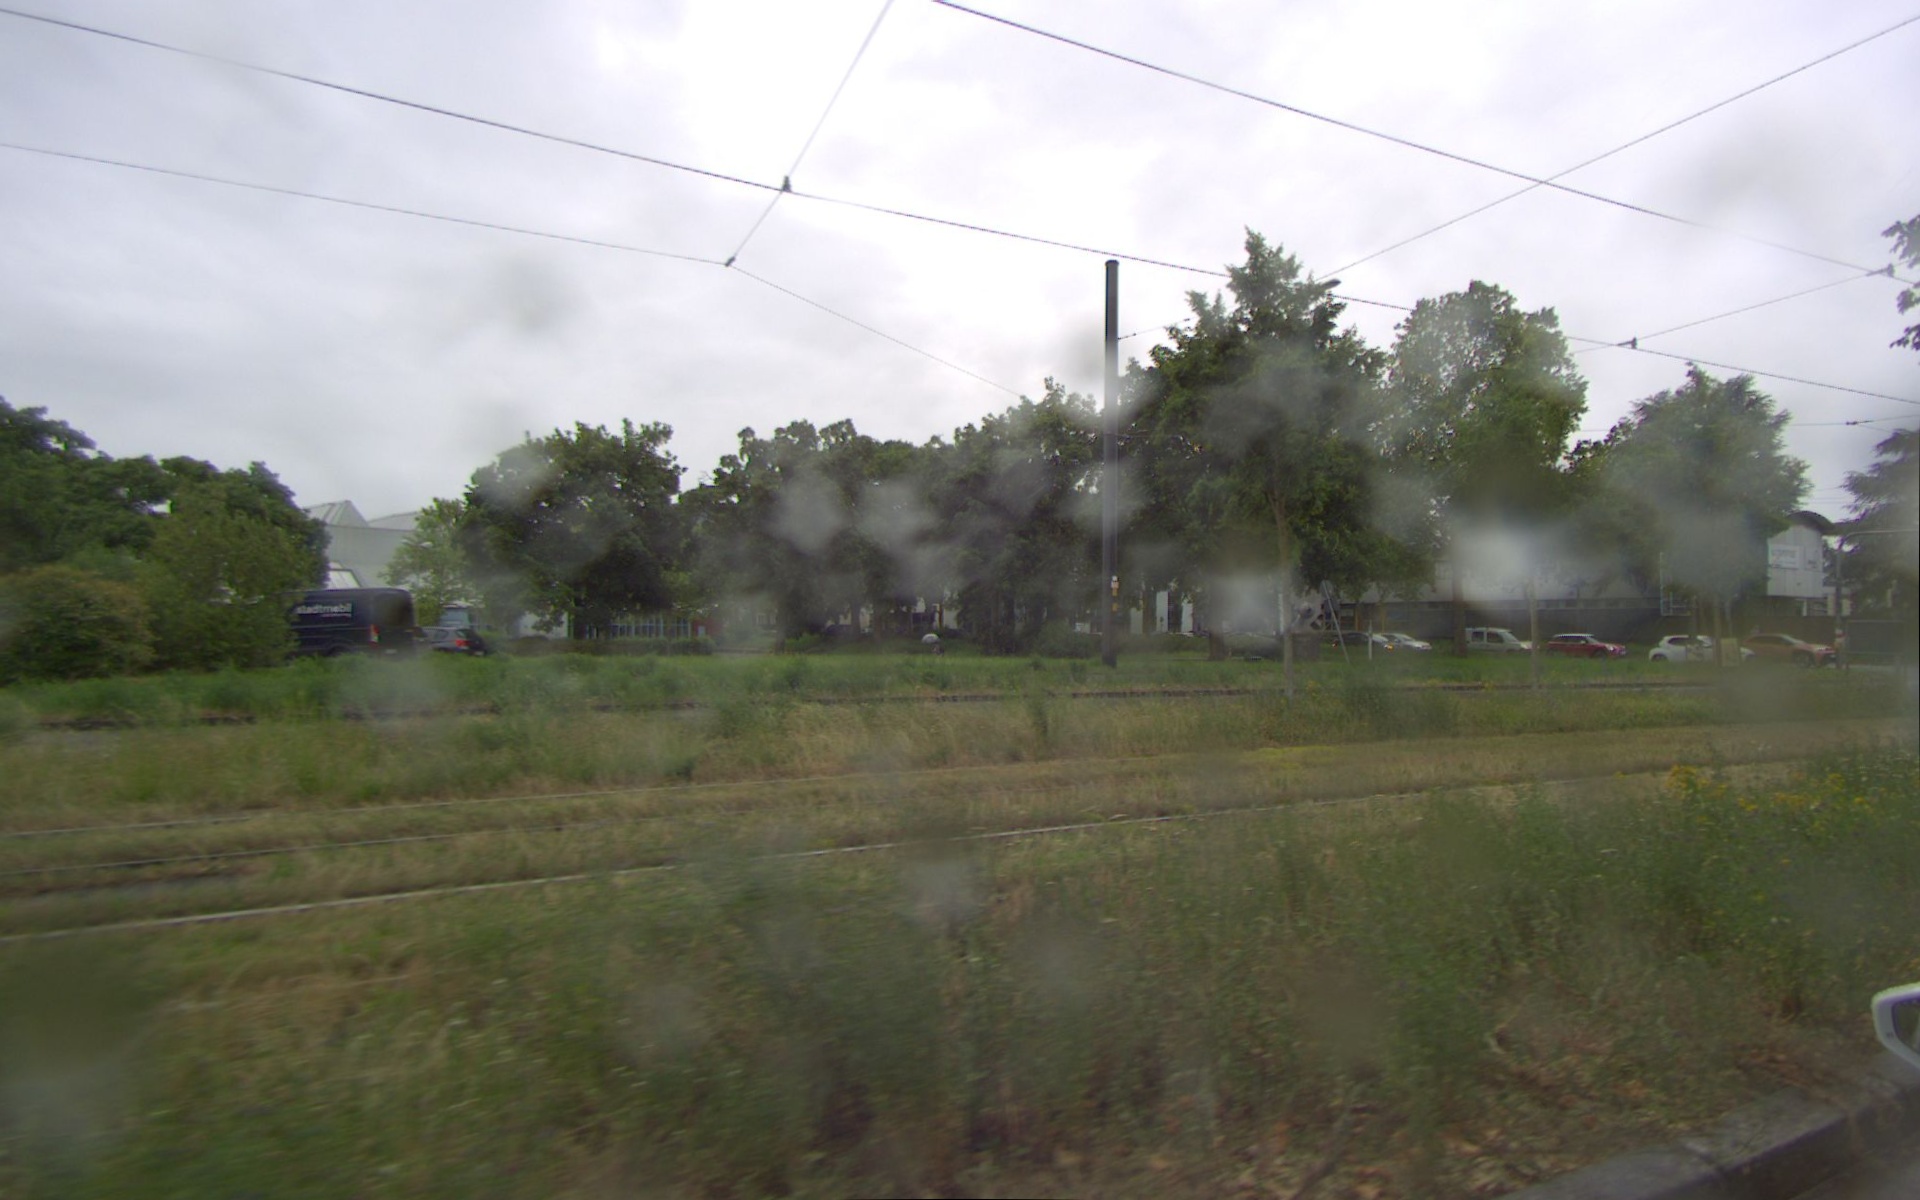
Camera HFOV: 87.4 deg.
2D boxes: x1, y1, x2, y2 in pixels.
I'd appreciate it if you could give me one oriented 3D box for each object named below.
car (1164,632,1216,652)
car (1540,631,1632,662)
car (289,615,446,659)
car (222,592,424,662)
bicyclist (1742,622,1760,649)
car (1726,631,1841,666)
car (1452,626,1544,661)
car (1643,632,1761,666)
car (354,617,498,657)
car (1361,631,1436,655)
[{"bbox_3d":[17.054,3.123,74.577,1.632,1.413,3.800,1,-2,-29],"label":"car"},{"bbox_3d":[33.619,2.471,54.038,1.634,1.519,3.885,0,-1,-33],"label":"car"},{"bbox_3d":[-18.995,1.197,32.293,4.015,1.356,1.838,0,-2,5],"label":"car"},{"bbox_3d":[-18.554,0.794,29.407,4.621,1.973,2.038,0,-2,2],"label":"car"},{"bbox_3d":[50.476,2.283,64.102,0.633,1.705,0.683,1,-2,-22],"label":"bicyclist"},{"bbox_3d":[38.060,2.231,46.520,1.632,1.518,3.802,1,-2,-29],"label":"car"},{"bbox_3d":[29.299,2.348,54.840,1.634,1.820,4.185,0,-1,-33],"label":"car"},{"bbox_3d":[33.951,2.221,46.092,1.632,1.518,4.048,1,-2,-29],"label":"car"},{"bbox_3d":[-18.372,1.285,34.680,4.015,1.356,1.838,0,-2,5],"label":"car"},{"bbox_3d":[27.883,2.753,63.993,1.632,1.474,4.337,1,-2,-29],"label":"car"}]
